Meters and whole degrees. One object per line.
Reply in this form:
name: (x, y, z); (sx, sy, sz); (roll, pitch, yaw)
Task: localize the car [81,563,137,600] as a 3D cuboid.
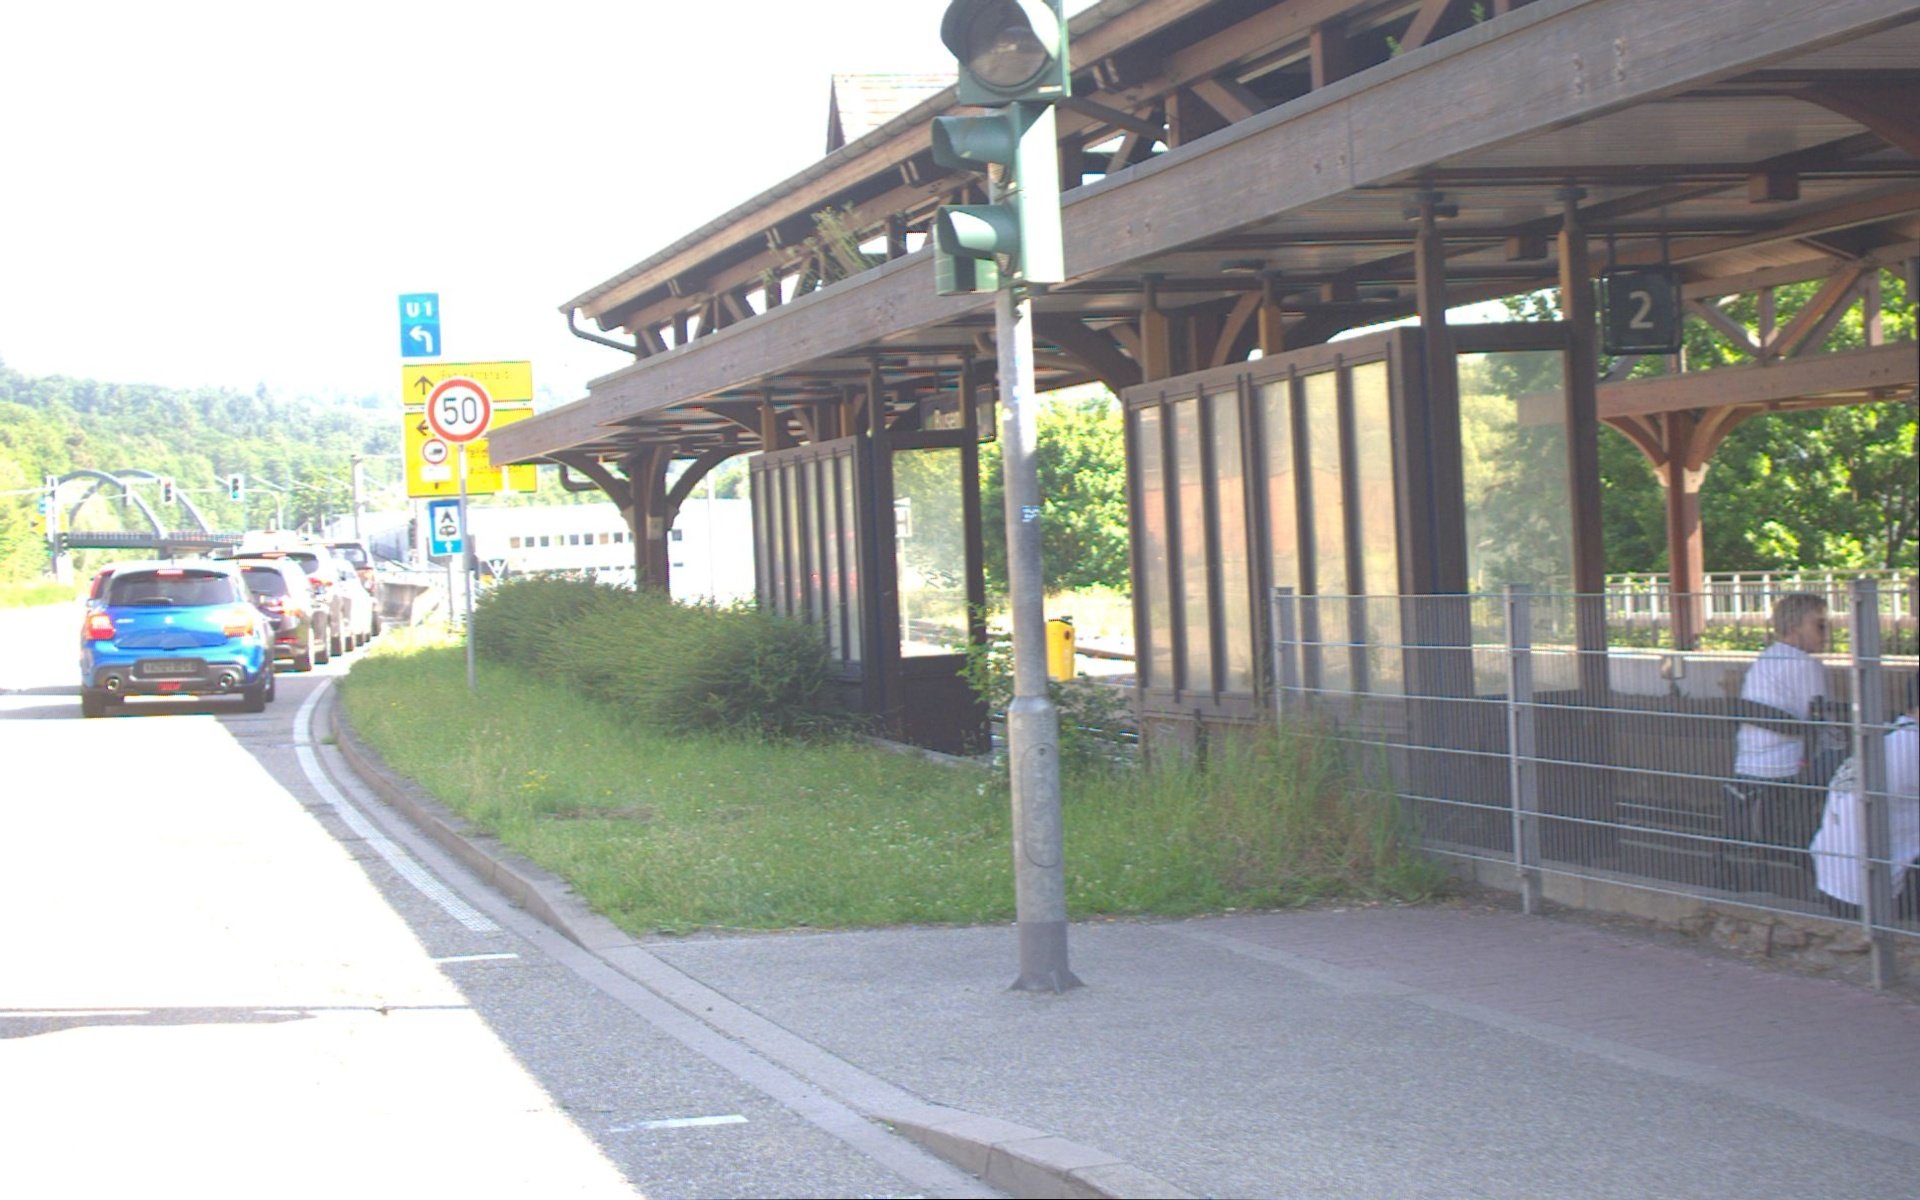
car: (-36.439, -0.811, 147.290); (1.791, 1.465, 4.717); (-1, 1, -8)

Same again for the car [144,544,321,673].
car: (-9.468, 0.072, 45.027); (1.993, 1.526, 4.603); (-2, 1, -9)

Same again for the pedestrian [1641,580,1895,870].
pedestrian: (3.240, 0.487, 13.820); (0.742, 1.112, 0.667); (0, 2, -18)

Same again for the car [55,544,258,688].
car: (-9.221, 0.158, 39.721); (1.993, 1.566, 4.001); (-1, 1, -9)

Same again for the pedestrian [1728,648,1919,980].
pedestrian: (2.995, 0.664, 11.010); (0.742, 0.979, 0.769); (0, 2, -18)

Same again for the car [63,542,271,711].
car: (-7.835, 0.215, 34.204); (1.868, 1.543, 4.001); (-1, 1, -12)

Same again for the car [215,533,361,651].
car: (-9.945, -0.150, 51.125); (1.993, 1.681, 4.498); (0, 1, -9)

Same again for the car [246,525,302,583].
car: (-25.825, -1.720, 129.508); (1.993, 2.137, 4.721); (0, 1, -11)

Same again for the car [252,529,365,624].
car: (-12.256, -0.455, 64.878); (1.993, 1.730, 4.001); (0, 1, -9)

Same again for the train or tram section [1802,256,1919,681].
train or tram section: (10.032, -0.957, 23.420); (2.755, 3.352, 12.052); (0, 1, -16)
